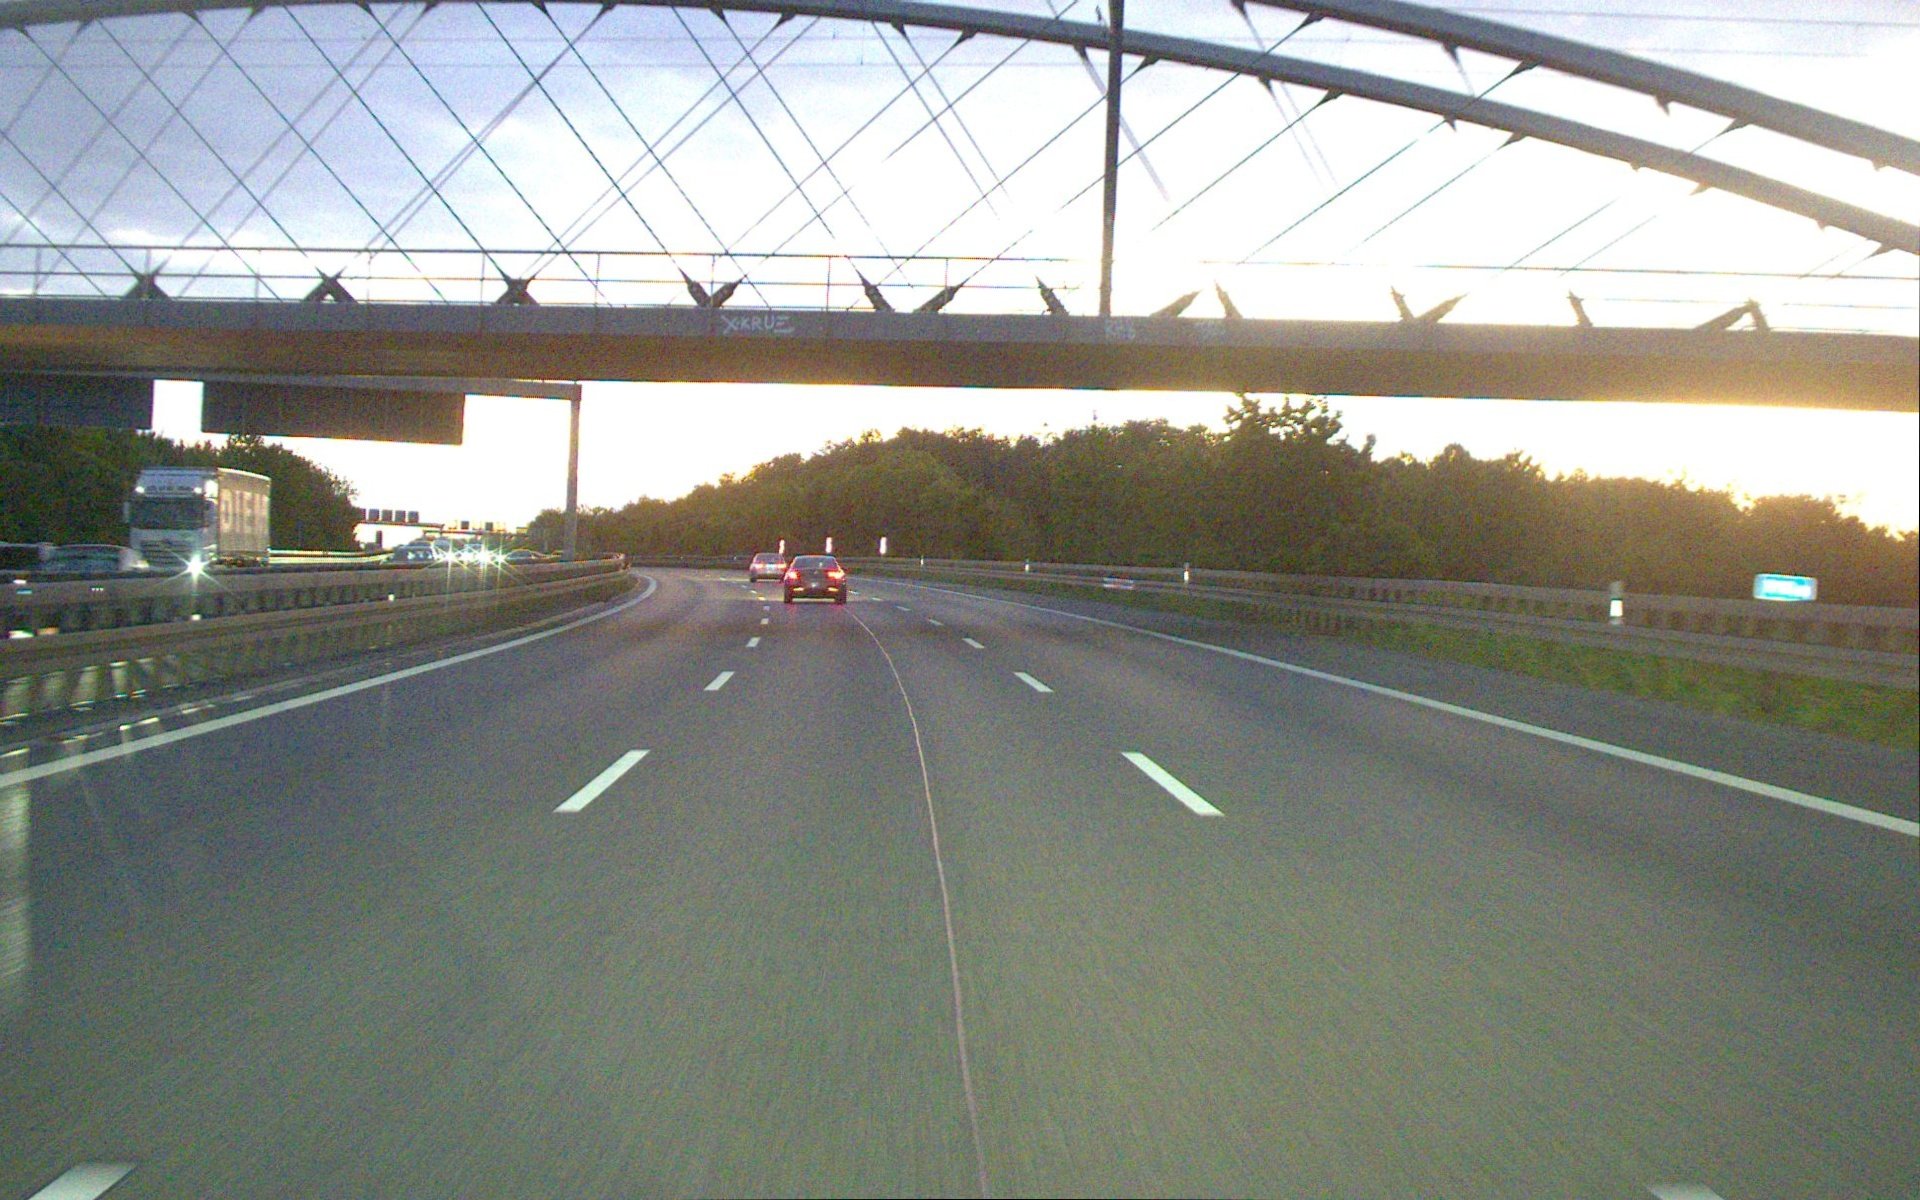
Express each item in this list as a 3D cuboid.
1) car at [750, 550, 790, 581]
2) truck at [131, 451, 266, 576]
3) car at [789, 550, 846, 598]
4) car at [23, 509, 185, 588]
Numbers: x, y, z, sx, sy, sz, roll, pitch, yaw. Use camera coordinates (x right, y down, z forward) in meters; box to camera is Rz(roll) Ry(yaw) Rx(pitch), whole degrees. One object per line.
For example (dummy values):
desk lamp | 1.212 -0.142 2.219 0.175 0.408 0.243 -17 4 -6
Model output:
car | -9.254 -1.684 167.717 1.689 1.397 3.408 0 -1 1
truck | -26.014 -2.912 117.976 2.824 4.034 12.217 0 1 -4
car | -4.306 -0.770 103.819 1.689 1.397 3.409 1 0 -3
car | -15.997 -0.969 64.446 1.993 1.399 4.330 1 1 -1
